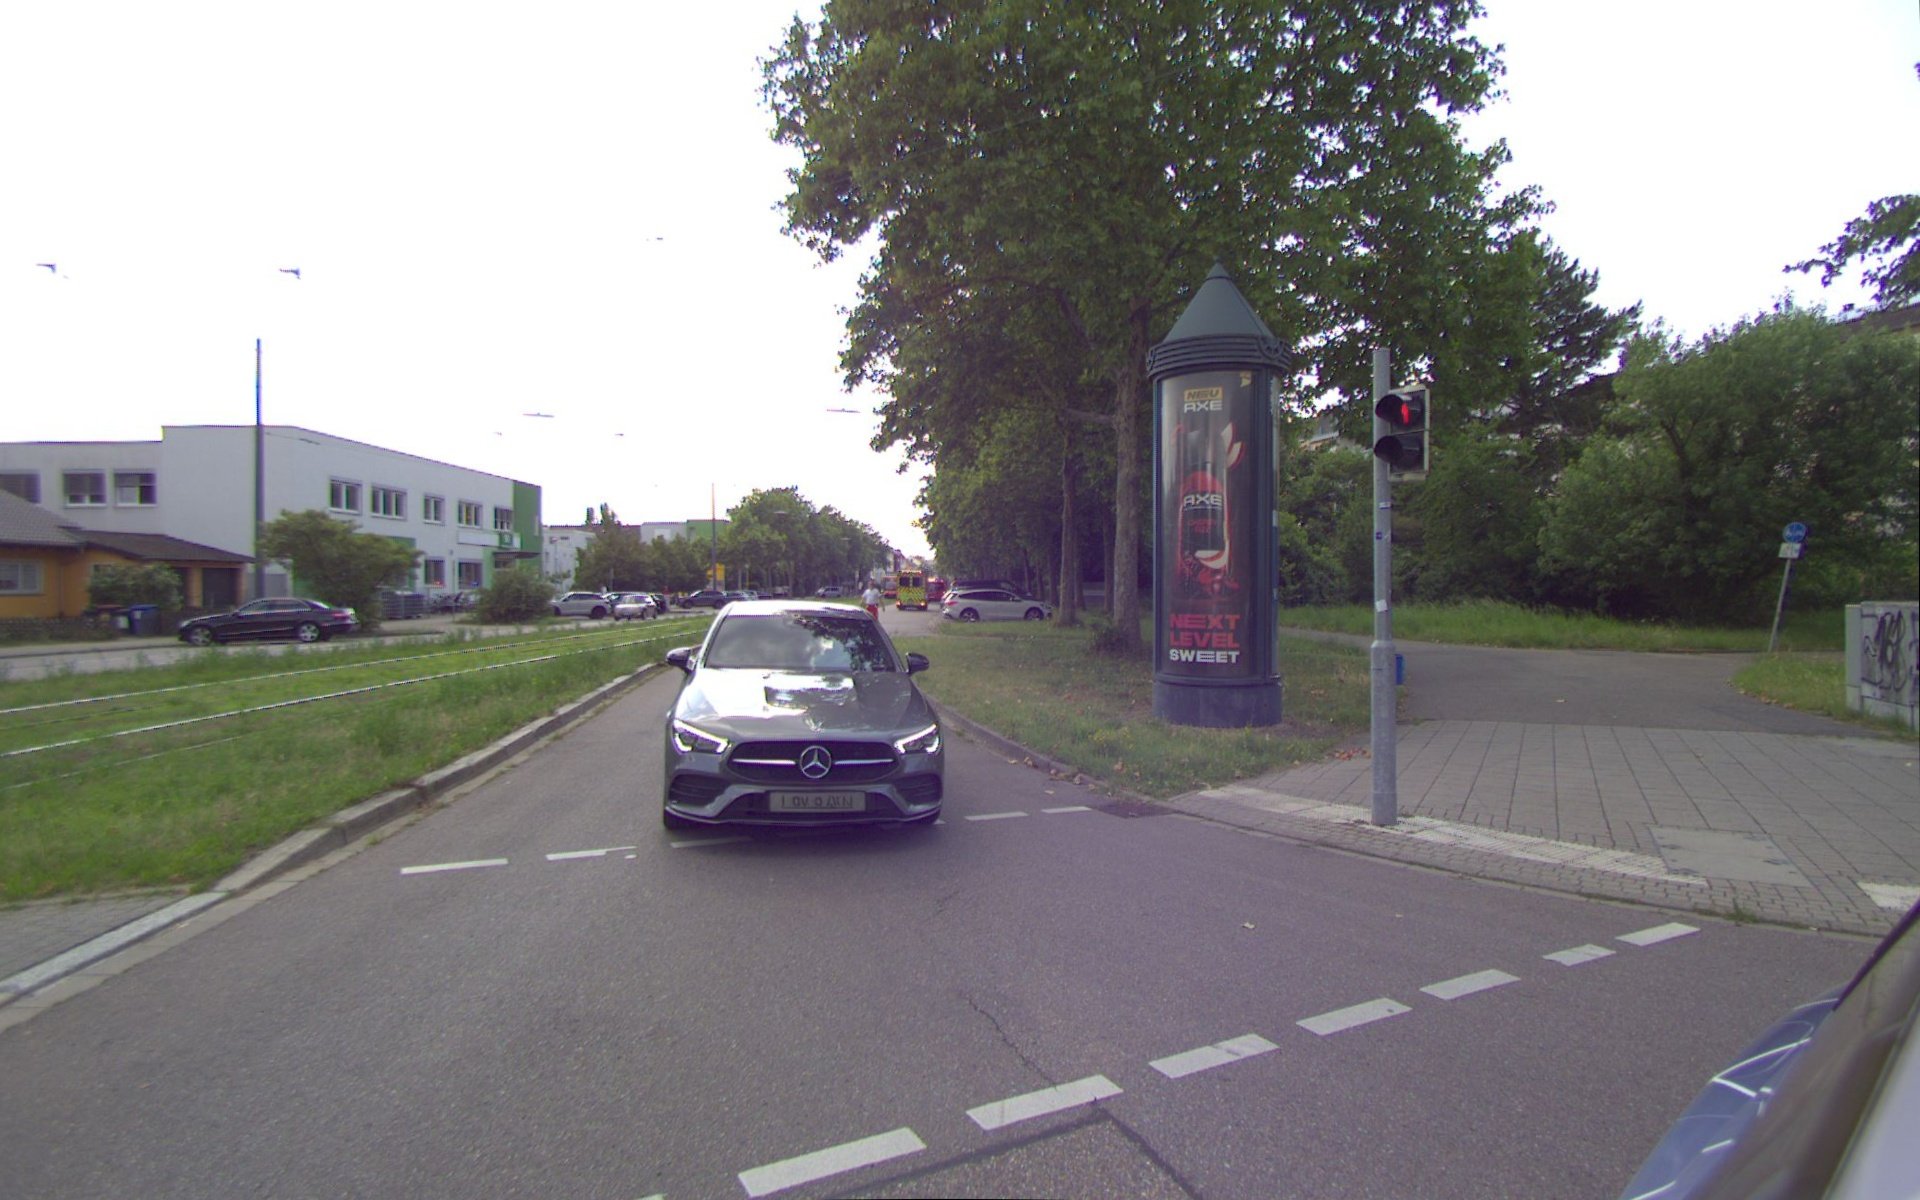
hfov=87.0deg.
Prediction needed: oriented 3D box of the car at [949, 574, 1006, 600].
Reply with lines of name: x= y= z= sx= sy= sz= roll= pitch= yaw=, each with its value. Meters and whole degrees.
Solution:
car: x=2.378 y=-1.738 z=136.167 sx=7.311 sy=3.372 sz=2.978 roll=2 pitch=0 yaw=-4

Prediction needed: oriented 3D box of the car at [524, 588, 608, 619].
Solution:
car: x=-22.703 y=0.174 z=58.316 sx=4.231 sy=1.649 sz=1.903 roll=-1 pitch=1 yaw=-33

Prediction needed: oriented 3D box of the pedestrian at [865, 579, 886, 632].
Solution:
pedestrian: x=-2.738 y=0.184 z=32.716 sx=0.484 sy=1.705 sz=0.588 roll=0 pitch=0 yaw=-30

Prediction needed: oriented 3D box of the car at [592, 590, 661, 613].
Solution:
car: x=-22.231 y=0.075 z=67.480 sx=4.085 sy=1.523 sz=1.863 roll=0 pitch=0 yaw=-27

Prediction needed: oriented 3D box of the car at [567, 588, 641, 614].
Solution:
car: x=-22.621 y=0.056 z=64.386 sx=4.227 sy=1.650 sz=1.905 roll=0 pitch=0 yaw=-28

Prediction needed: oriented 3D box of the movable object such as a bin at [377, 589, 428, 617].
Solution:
movable object such as a bin: x=-28.376 y=0.141 z=51.535 sx=1.352 sy=1.343 sz=2.129 roll=0 pitch=1 yaw=4

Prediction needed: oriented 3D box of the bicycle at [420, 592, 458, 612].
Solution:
bicycle: x=-29.577 y=0.118 z=57.422 sx=1.762 sy=1.095 sz=0.737 roll=0 pitch=0 yaw=-1

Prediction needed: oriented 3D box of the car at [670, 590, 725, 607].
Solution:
car: x=-22.056 y=-0.151 z=84.991 sx=4.225 sy=1.381 sz=1.905 roll=-1 pitch=1 yaw=-23

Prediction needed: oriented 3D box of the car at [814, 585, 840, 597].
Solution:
car: x=-22.813 y=-1.555 z=173.563 sx=3.920 sy=1.861 sz=1.823 roll=1 pitch=0 yaw=-31

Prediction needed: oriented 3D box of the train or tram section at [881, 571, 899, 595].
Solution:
train or tram section: x=-10.772 y=-2.627 z=155.490 sx=2.446 sy=3.641 sz=7.430 roll=0 pitch=1 yaw=-5

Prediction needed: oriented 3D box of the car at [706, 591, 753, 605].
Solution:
car: x=-22.447 y=-0.206 z=98.603 sx=4.225 sy=1.381 sz=1.906 roll=-1 pitch=1 yaw=-22

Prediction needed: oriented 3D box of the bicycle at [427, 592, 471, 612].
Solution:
bicycle: x=-30.705 y=0.141 z=60.858 sx=2.311 sy=1.180 sz=0.759 roll=0 pitch=0 yaw=7

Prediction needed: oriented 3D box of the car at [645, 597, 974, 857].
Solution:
car: x=-1.358 y=0.711 z=7.956 sx=1.802 sy=1.411 sz=4.615 roll=2 pitch=0 yaw=-14

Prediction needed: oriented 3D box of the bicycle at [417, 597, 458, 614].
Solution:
bicycle: x=-30.936 y=0.339 z=59.951 sx=2.121 sy=0.982 sz=0.730 roll=0 pitch=0 yaw=5

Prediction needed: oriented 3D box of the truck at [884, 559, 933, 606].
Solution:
truck: x=-3.836 y=-1.296 z=76.932 sx=3.134 sy=3.359 sz=7.521 roll=0 pitch=1 yaw=1

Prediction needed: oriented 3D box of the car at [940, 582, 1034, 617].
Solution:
car: x=1.279 y=-0.019 z=49.470 sx=4.455 sy=1.665 sz=2.000 roll=0 pitch=-1 yaw=-1

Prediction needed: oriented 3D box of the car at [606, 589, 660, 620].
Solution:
car: x=-18.097 y=0.196 z=56.195 sx=1.864 sy=1.650 sz=4.318 roll=0 pitch=0 yaw=-4

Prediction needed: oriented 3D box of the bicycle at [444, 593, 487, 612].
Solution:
bicycle: x=-30.270 y=0.154 z=61.991 sx=2.377 sy=1.180 sz=0.747 roll=0 pitch=0 yaw=8

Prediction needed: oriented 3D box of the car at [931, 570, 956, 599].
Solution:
car: x=-2.021 y=-1.813 z=122.631 sx=2.918 sy=3.372 sz=7.461 roll=1 pitch=0 yaw=-1

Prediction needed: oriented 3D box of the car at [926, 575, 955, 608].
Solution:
car: x=-2.156 y=-0.884 z=109.759 sx=2.918 sy=3.359 sz=7.461 roll=1 pitch=0 yaw=-1

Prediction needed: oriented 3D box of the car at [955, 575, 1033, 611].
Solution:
car: x=1.946 y=-0.413 z=59.227 sx=4.472 sy=2.039 sz=1.999 roll=-1 pitch=0 yaw=1

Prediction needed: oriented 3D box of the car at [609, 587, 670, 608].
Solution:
car: x=-23.293 y=-0.169 z=73.574 sx=4.083 sy=1.523 sz=1.864 roll=0 pitch=0 yaw=-22

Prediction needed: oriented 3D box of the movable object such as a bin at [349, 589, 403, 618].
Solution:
movable object such as a bin: x=-28.451 y=0.146 z=49.347 sx=1.352 sy=1.343 sz=2.115 roll=0 pitch=1 yaw=4

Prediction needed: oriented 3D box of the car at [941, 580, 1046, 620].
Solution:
car: x=1.429 y=0.022 z=44.287 sx=4.455 sy=1.665 sz=2.000 roll=0 pitch=-1 yaw=-1

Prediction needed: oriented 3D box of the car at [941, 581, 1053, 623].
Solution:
car: x=1.478 y=0.096 z=41.701 sx=4.455 sy=1.665 sz=2.000 roll=0 pitch=-1 yaw=-1

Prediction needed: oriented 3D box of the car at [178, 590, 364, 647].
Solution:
car: x=-21.718 y=0.534 z=32.135 sx=4.484 sy=1.600 sz=2.004 roll=-2 pitch=1 yaw=-19

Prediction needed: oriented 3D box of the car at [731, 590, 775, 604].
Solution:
car: x=-21.511 y=-0.353 z=105.126 sx=4.225 sy=1.381 sz=1.906 roll=-1 pitch=1 yaw=-22

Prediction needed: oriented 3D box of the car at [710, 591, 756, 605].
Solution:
car: x=-22.662 y=-0.220 z=101.196 sx=4.225 sy=1.381 sz=1.906 roll=-1 pitch=1 yaw=-22

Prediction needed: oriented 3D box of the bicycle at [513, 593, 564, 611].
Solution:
bicycle: x=-29.000 y=0.149 z=69.664 sx=3.082 sy=1.180 sz=1.143 roll=-1 pitch=1 yaw=-3
